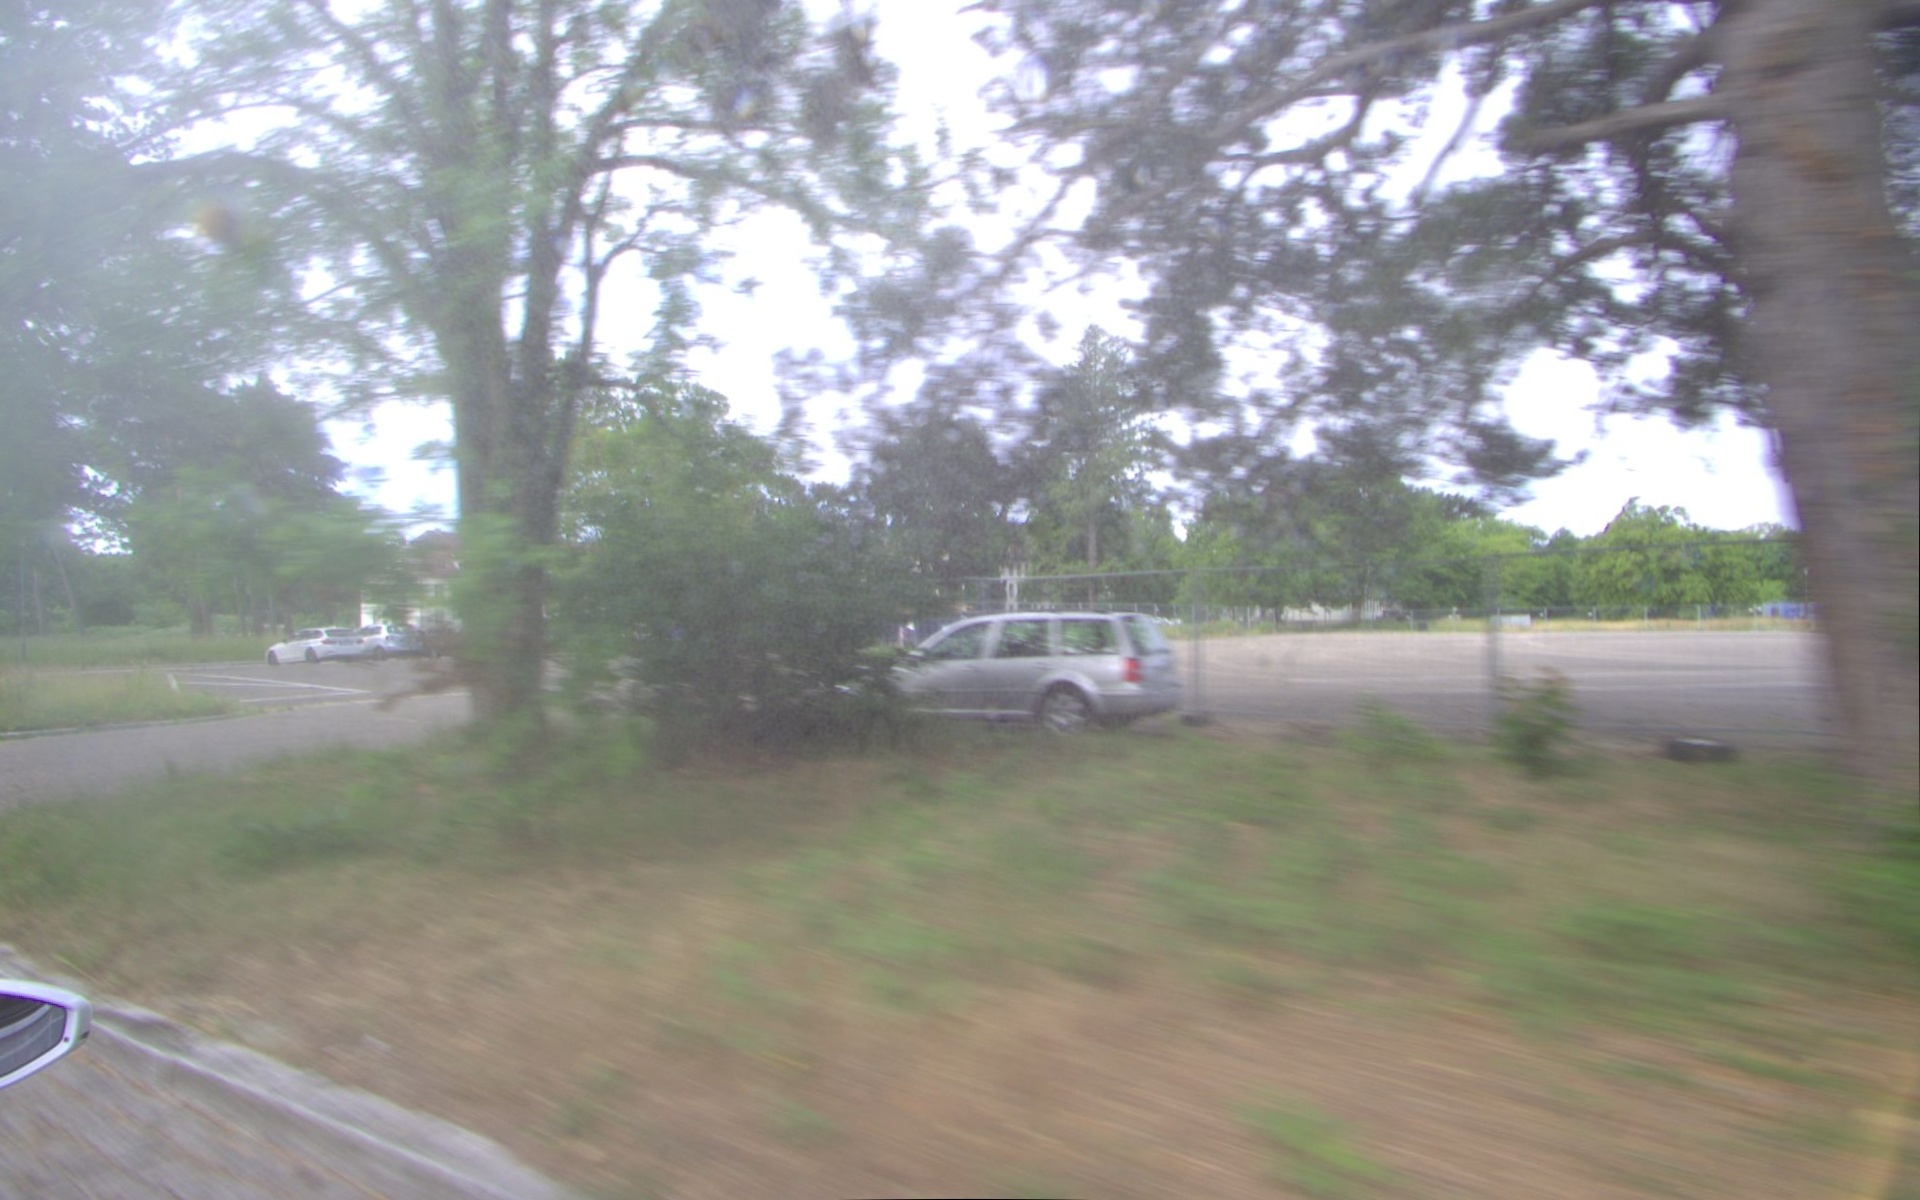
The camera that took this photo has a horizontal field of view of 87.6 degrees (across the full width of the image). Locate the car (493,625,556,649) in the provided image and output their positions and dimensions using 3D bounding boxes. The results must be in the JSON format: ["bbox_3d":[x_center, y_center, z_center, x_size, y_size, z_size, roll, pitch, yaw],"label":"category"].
[{"bbox_3d":[-26.471,2.247,60.792,4.189,1.408,1.728,-1,-1,37],"label":"car"}]

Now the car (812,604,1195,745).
[{"bbox_3d":[0.464,0.842,12.269,4.421,1.469,1.672,-1,-1,29],"label":"car"}]

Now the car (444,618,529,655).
[{"bbox_3d":[-22.519,1.739,47.570,4.186,1.504,1.697,-4,-2,33],"label":"car"}]

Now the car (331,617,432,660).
[{"bbox_3d":[-24.606,1.636,42.553,4.181,1.625,1.780,-4,-2,29],"label":"car"}]

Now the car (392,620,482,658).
[{"bbox_3d":[-23.510,1.759,44.965,4.186,1.504,1.697,-4,-2,33],"label":"car"}]

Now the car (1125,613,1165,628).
[{"bbox_3d":[26.087,2.869,141.331,5.222,1.979,2.080,-2,-3,32],"label":"car"}]

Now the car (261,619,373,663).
[{"bbox_3d":[-25.862,1.665,40.224,4.541,1.504,1.847,-4,-3,29],"label":"car"}]

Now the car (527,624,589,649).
[{"bbox_3d":[-25.376,2.289,63.196,4.189,1.491,1.728,-1,-1,37],"label":"car"}]
